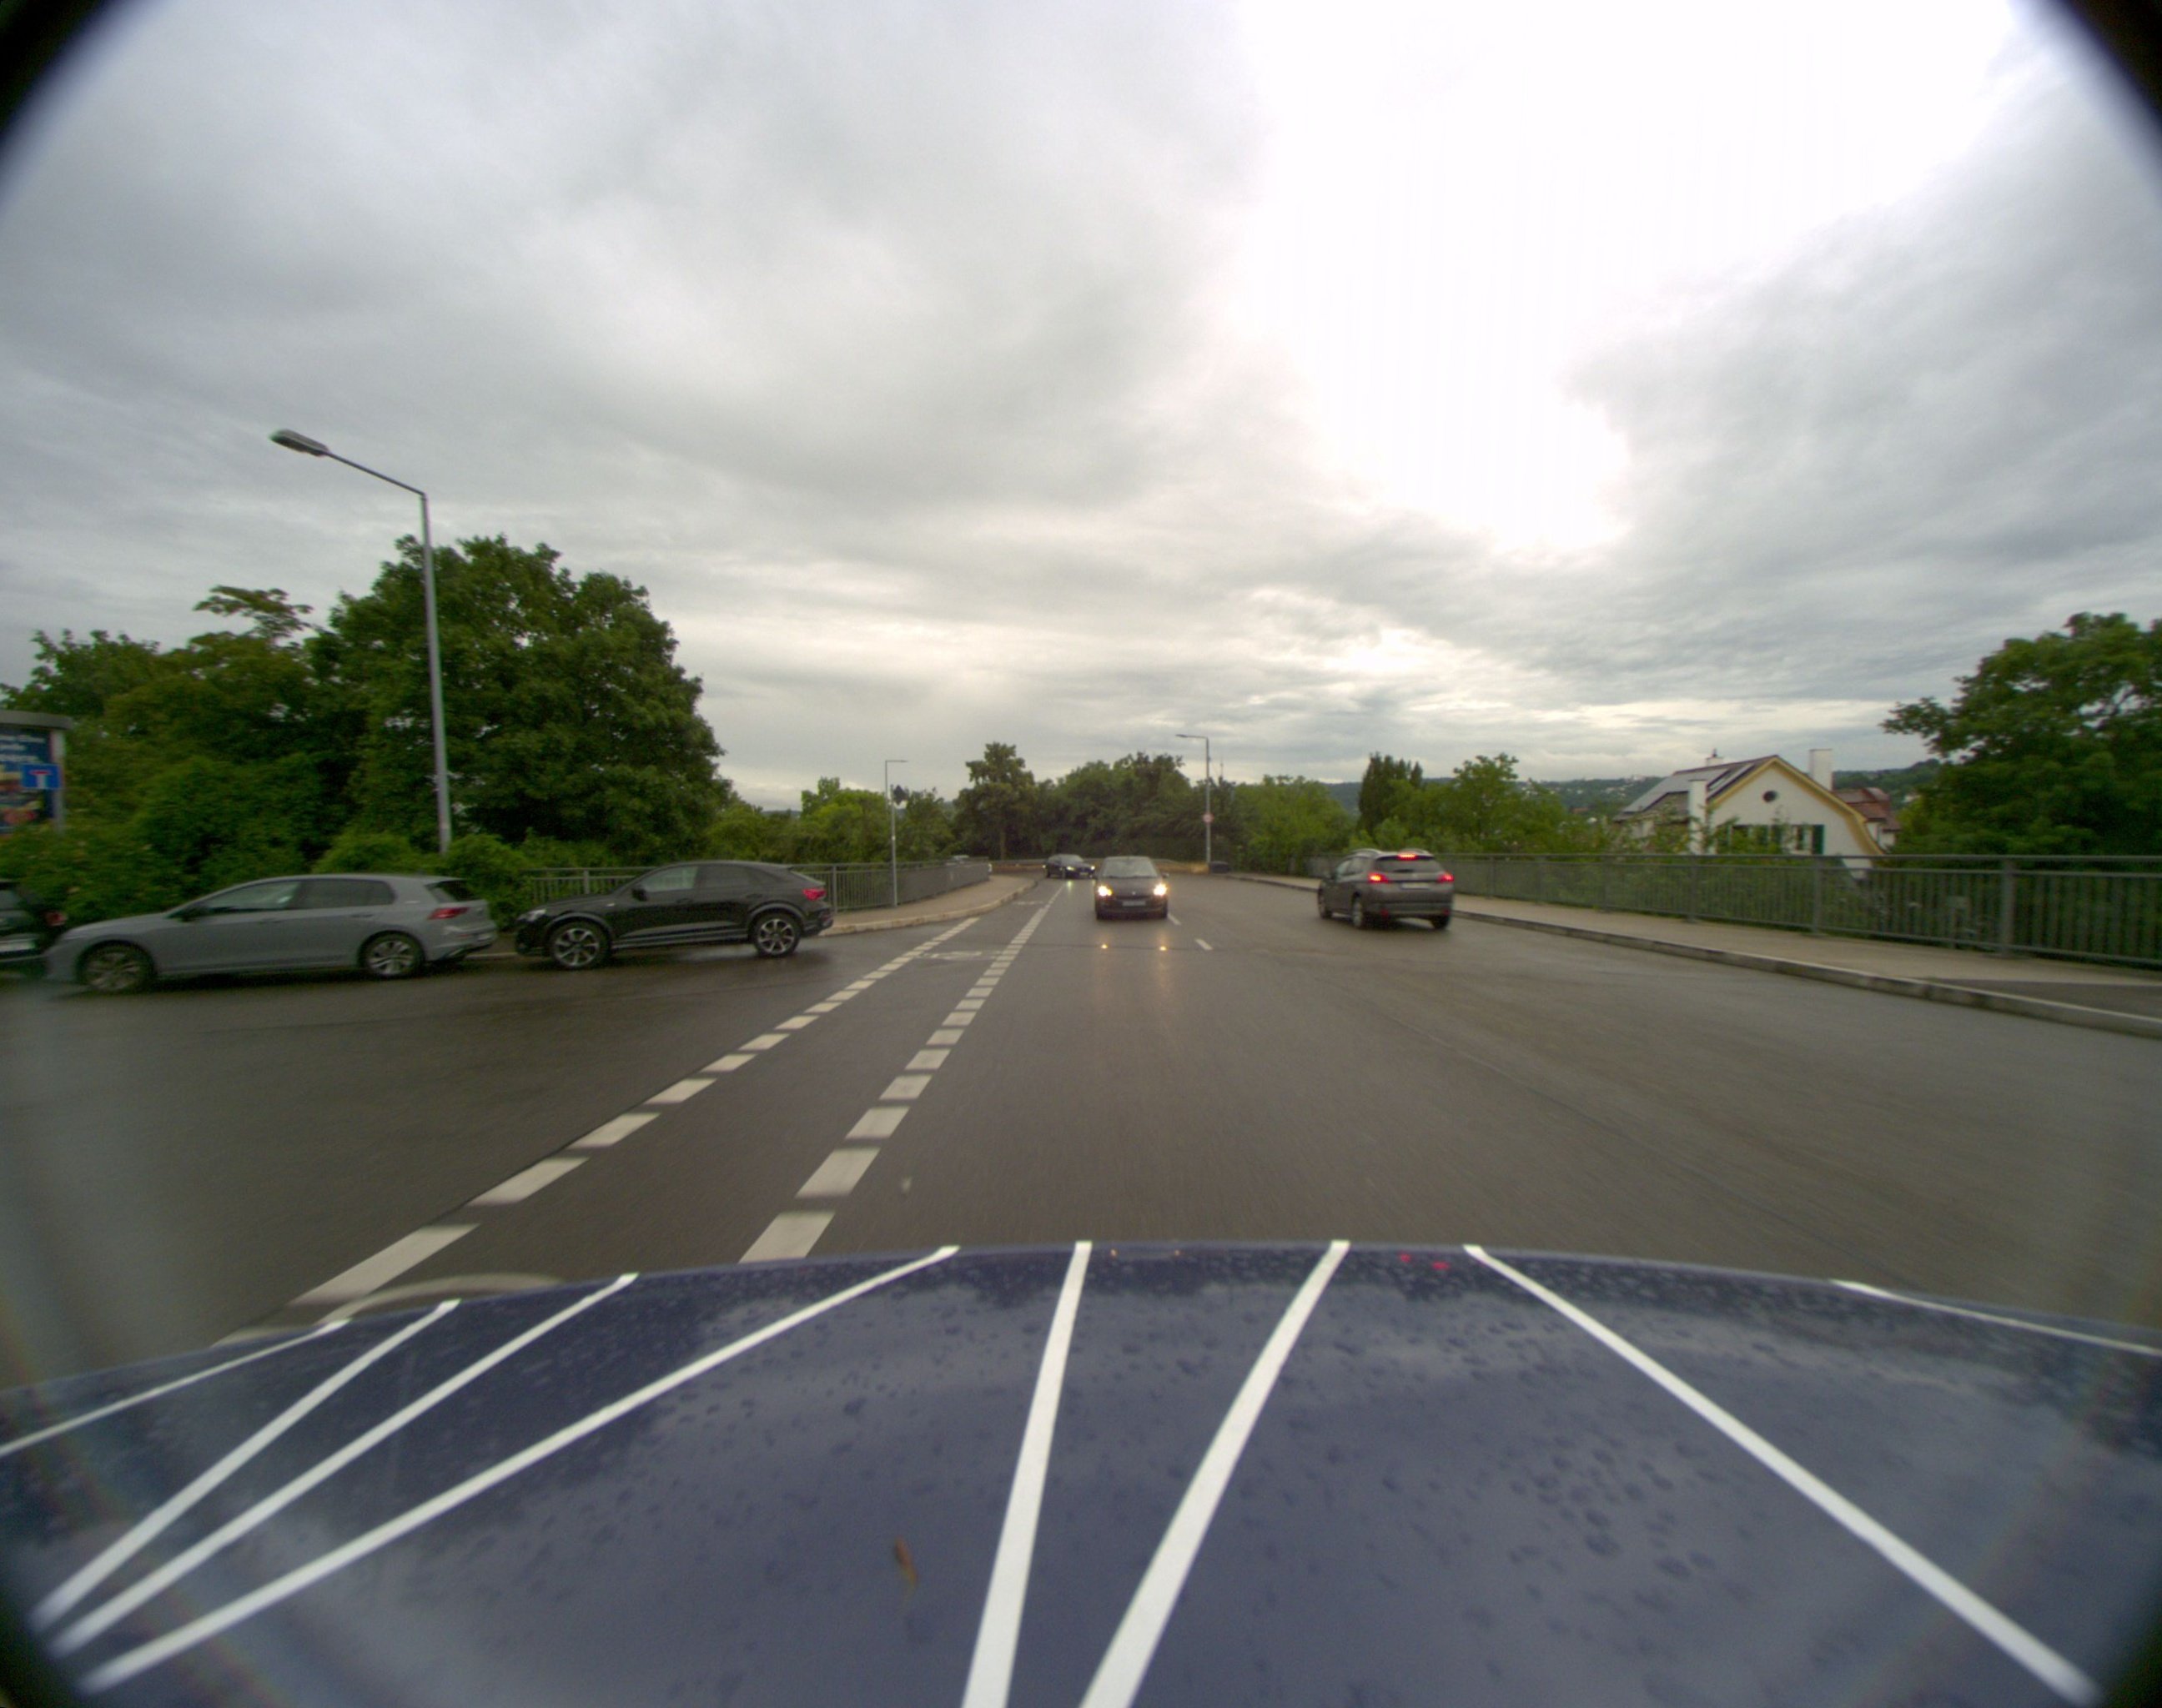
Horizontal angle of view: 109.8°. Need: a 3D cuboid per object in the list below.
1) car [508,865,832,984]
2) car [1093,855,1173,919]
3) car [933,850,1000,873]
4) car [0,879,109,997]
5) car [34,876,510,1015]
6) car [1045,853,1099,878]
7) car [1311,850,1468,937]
[{"bbox_3d":[-6.309,0.999,12.197,4.206,1.514,1.996,-2,0,-23],"label":"car"},{"bbox_3d":[1.186,0.824,18.793,1.680,1.404,3.638,-1,-3,0],"label":"car"},{"bbox_3d":[-8.286,0.571,54.832,4.580,1.566,1.894,-1,1,29],"label":"car"},{"bbox_3d":[-15.659,1.104,9.977,3.598,1.480,1.842,0,0,4],"label":"car"},{"bbox_3d":[-10.671,1.119,10.487,4.060,1.417,1.797,-2,2,-21],"label":"car"},{"bbox_3d":[-0.603,0.668,45.581,1.769,1.445,4.392,0,0,-21],"label":"car"},{"bbox_3d":[6.168,0.695,15.706,1.738,1.536,4.000,0,1,2],"label":"car"}]
